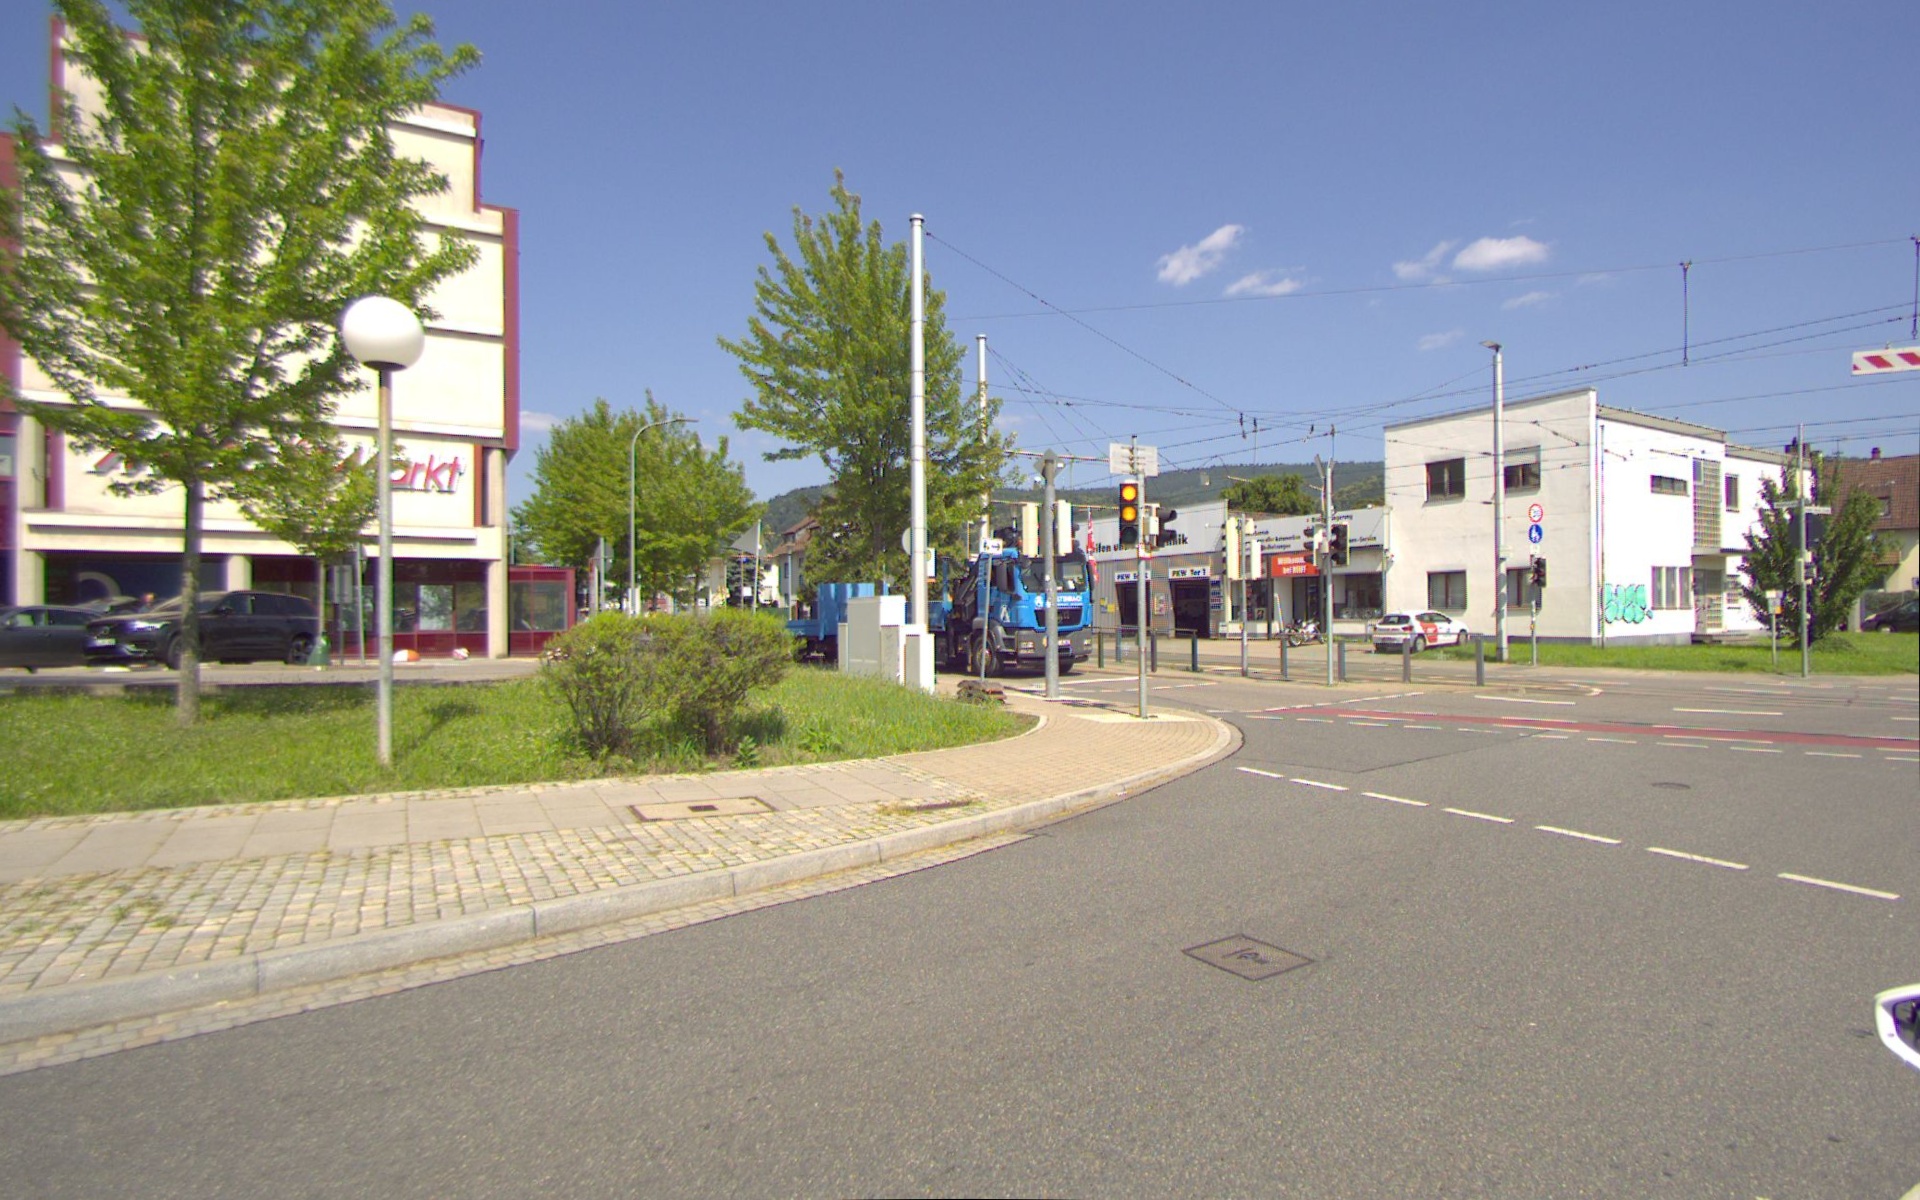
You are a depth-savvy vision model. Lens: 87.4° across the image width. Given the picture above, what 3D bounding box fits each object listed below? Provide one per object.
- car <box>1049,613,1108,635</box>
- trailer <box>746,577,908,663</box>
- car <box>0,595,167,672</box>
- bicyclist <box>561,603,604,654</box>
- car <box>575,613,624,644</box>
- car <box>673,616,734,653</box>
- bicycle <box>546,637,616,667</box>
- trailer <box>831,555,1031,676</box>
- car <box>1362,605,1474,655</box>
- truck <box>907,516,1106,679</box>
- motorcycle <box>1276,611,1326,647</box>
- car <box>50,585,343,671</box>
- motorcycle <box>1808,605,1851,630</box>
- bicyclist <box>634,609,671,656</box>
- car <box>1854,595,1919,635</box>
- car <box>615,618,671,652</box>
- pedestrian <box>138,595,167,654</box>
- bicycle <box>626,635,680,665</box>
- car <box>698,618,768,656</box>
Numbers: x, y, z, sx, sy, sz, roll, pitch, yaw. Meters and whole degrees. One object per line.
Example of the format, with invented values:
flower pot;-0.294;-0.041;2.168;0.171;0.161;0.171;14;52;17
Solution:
car;7.880;1.565;66.493;3.736;1.394;1.708;0;-1;-36
trailer;-4.830;0.652;35.007;2.775;2.663;7.534;0;0;-32
car;-19.423;0.686;20.585;1.879;1.512;4.873;0;-2;12
bicyclist;-11.177;0.827;29.723;0.711;1.467;0.919;2;0;37
car;-18.721;1.474;52.121;1.745;1.539;3.969;0;-1;-30
car;-12.389;1.633;48.359;1.709;1.605;4.037;-3;1;-31
bicycle;-11.203;1.518;29.724;0.717;0.804;1.836;2;0;37
trailer;-1.055;0.420;28.825;2.721;3.017;6.840;0;0;-31
car;16.773;1.059;36.767;3.956;1.482;1.873;-4;1;-33
truck;1.027;-0.032;25.393;2.721;3.657;4.997;0;0;-31
motorcycle;14.190;1.188;41.811;2.166;1.326;0.725;-4;1;-33
car;-16.419;0.685;22.071;2.143;1.615;5.120;-2;-3;7
motorcycle;38.827;0.803;44.841;2.542;1.046;0.846;2;0;-35
bicyclist;-9.826;1.030;32.157;0.708;1.467;0.922;2;0;17
car;45.007;0.706;46.448;1.983;1.840;5.207;0;-2;-39
car;-14.684;1.594;46.400;1.708;1.482;3.874;2;-1;-29
pedestrian;-19.054;0.571;23.688;0.517;1.374;0.457;1;-1;-40
bicycle;-9.822;1.579;32.203;0.714;0.860;1.843;2;0;17
car;-9.916;1.551;43.685;1.709;1.492;4.243;-2;0;-31
